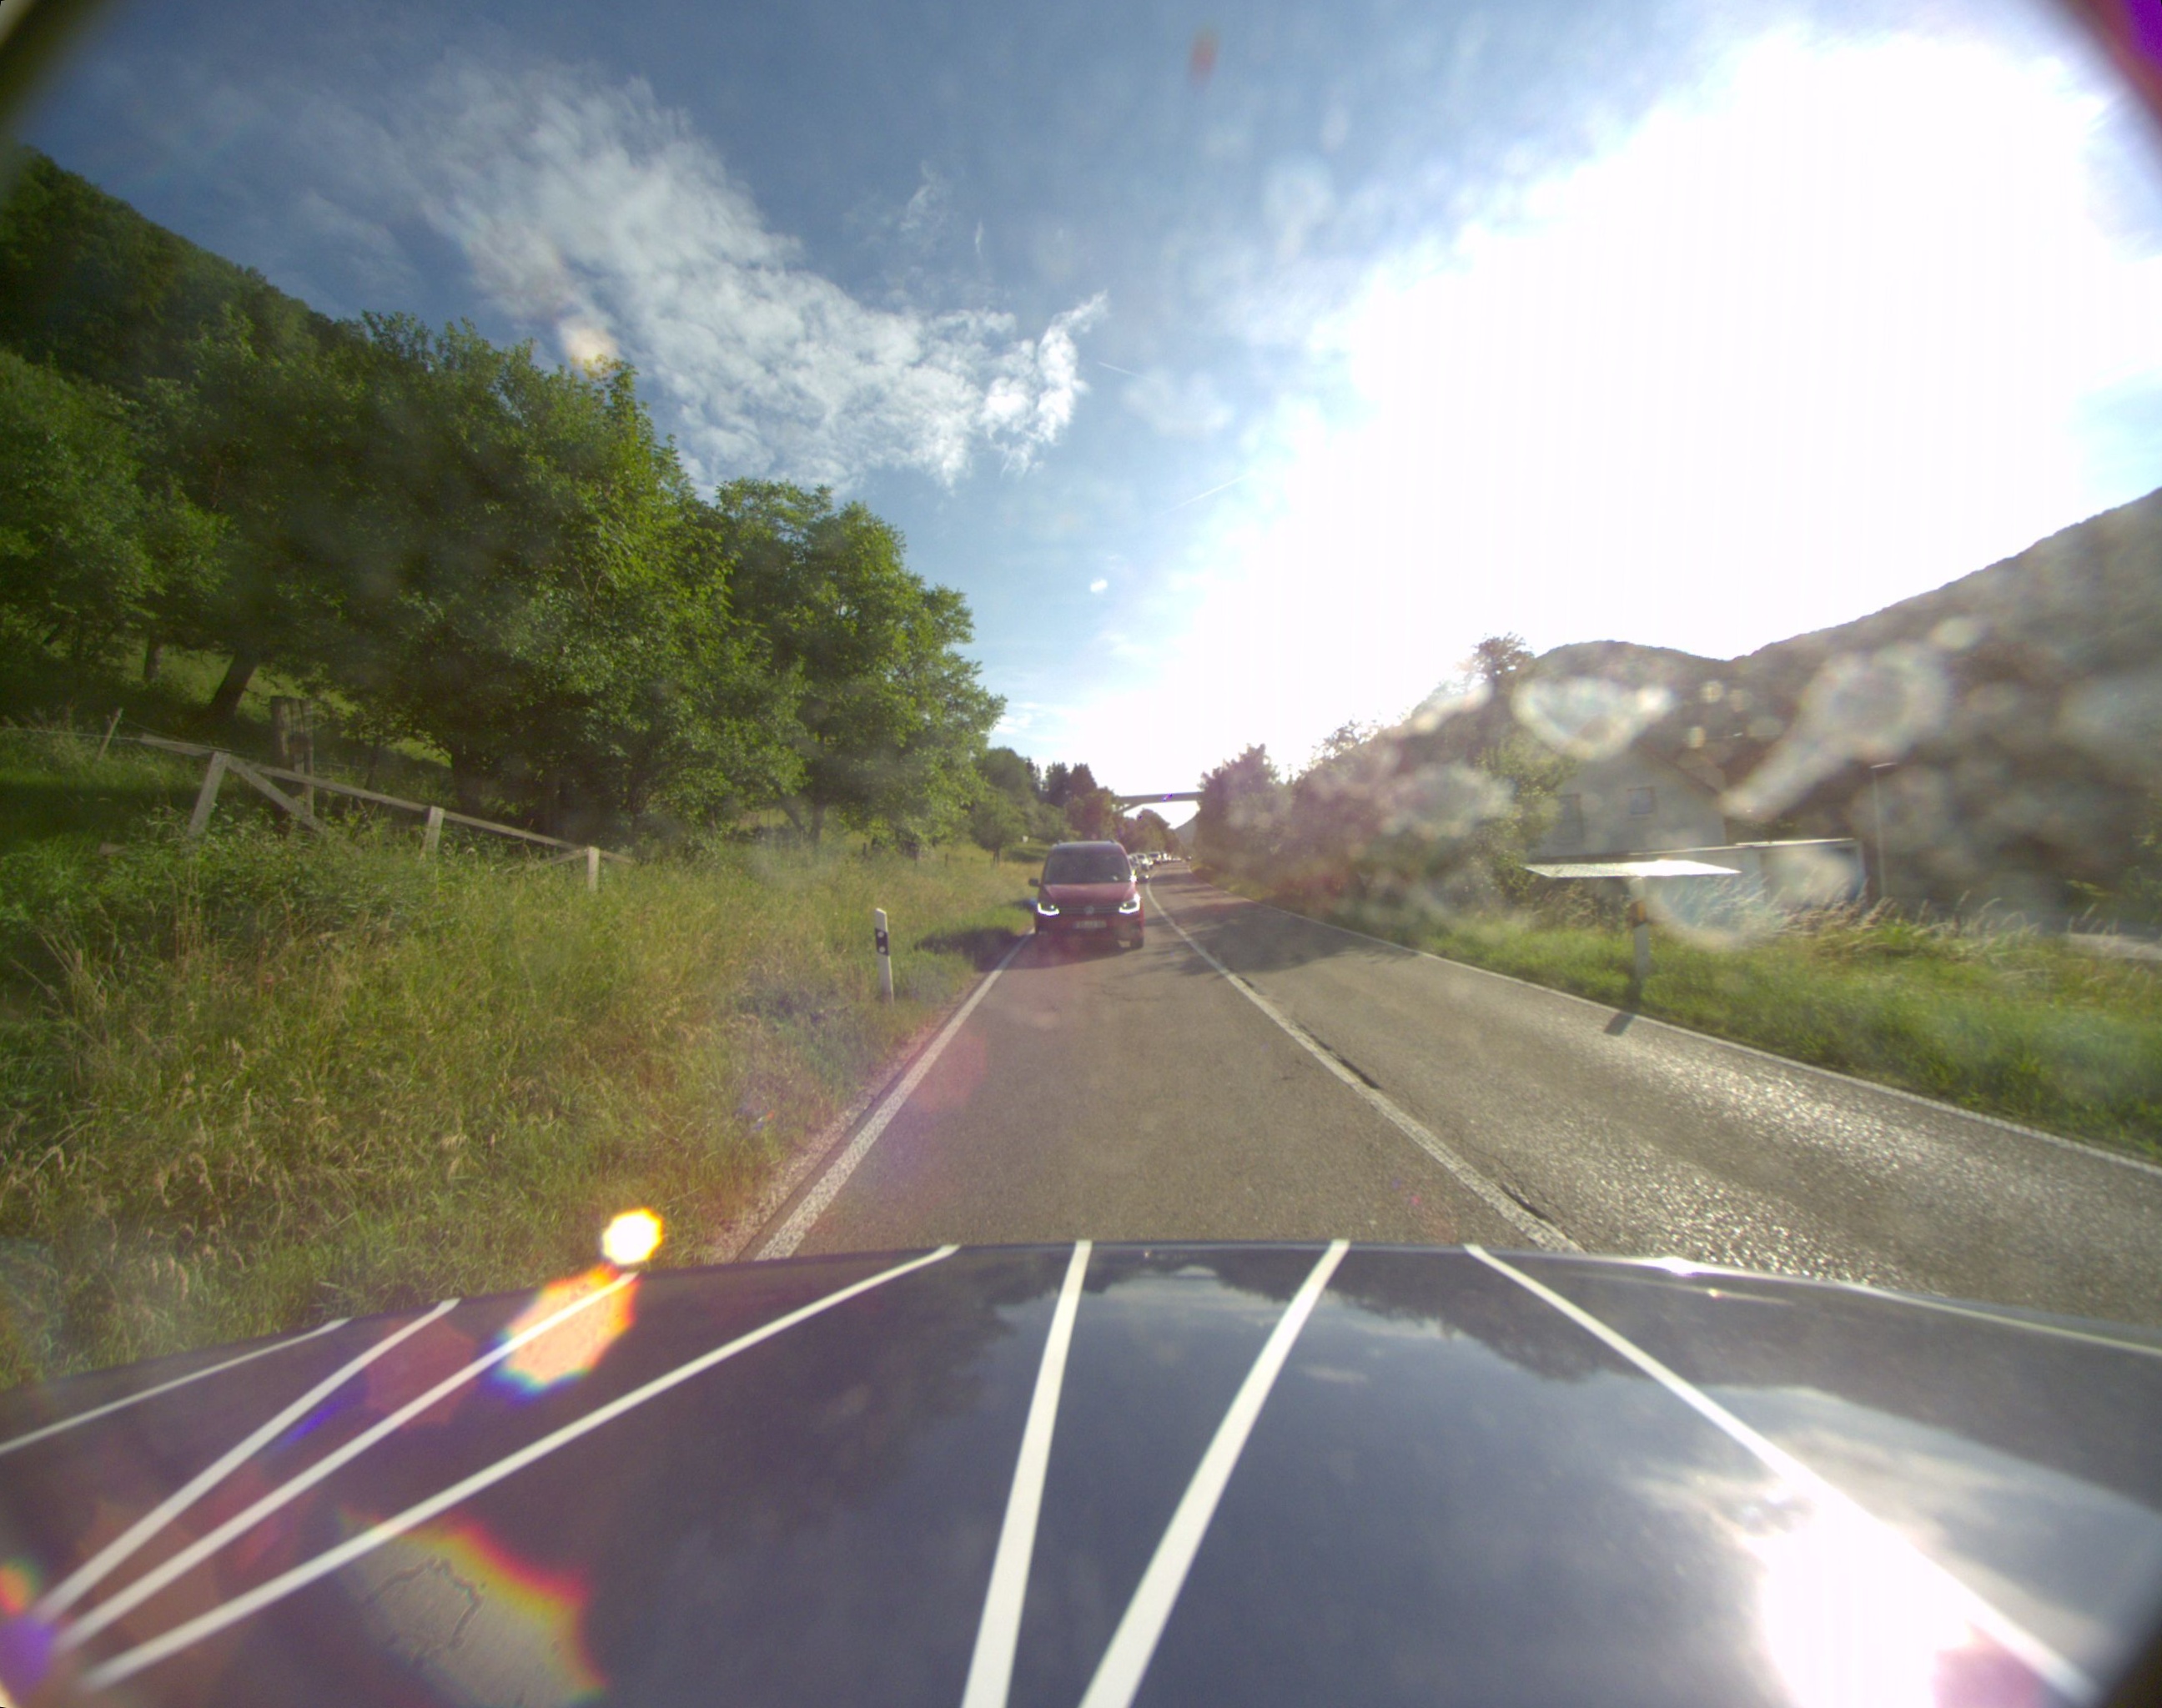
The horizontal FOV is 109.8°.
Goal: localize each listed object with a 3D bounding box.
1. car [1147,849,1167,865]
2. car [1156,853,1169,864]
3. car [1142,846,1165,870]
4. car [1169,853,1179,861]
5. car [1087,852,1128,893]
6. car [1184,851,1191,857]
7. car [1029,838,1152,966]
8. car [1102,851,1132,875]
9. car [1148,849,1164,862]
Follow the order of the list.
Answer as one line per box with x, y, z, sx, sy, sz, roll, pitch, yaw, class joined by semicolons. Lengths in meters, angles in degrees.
7.606;0.289;75.797;1.841;1.543;4.179;-1;0;6;car
12.184;0.617;113.562;1.817;1.608;4.002;-1;0;8;car
6.414;0.356;66.898;1.914;2.002;4.002;-1;0;6;car
19.862;0.609;162.303;1.840;1.543;4.181;-1;0;12;car
1.143;0.732;31.618;1.570;1.575;3.527;-1;0;4;car
30.058;0.024;214.606;1.817;1.608;3.807;-1;0;6;car
0.181;0.696;13.164;1.772;1.855;3.875;-2;0;1;car
2.547;0.598;52.611;1.841;1.543;4.179;-1;0;6;car
9.694;0.187;98.251;1.817;1.608;4.003;-1;0;9;car
